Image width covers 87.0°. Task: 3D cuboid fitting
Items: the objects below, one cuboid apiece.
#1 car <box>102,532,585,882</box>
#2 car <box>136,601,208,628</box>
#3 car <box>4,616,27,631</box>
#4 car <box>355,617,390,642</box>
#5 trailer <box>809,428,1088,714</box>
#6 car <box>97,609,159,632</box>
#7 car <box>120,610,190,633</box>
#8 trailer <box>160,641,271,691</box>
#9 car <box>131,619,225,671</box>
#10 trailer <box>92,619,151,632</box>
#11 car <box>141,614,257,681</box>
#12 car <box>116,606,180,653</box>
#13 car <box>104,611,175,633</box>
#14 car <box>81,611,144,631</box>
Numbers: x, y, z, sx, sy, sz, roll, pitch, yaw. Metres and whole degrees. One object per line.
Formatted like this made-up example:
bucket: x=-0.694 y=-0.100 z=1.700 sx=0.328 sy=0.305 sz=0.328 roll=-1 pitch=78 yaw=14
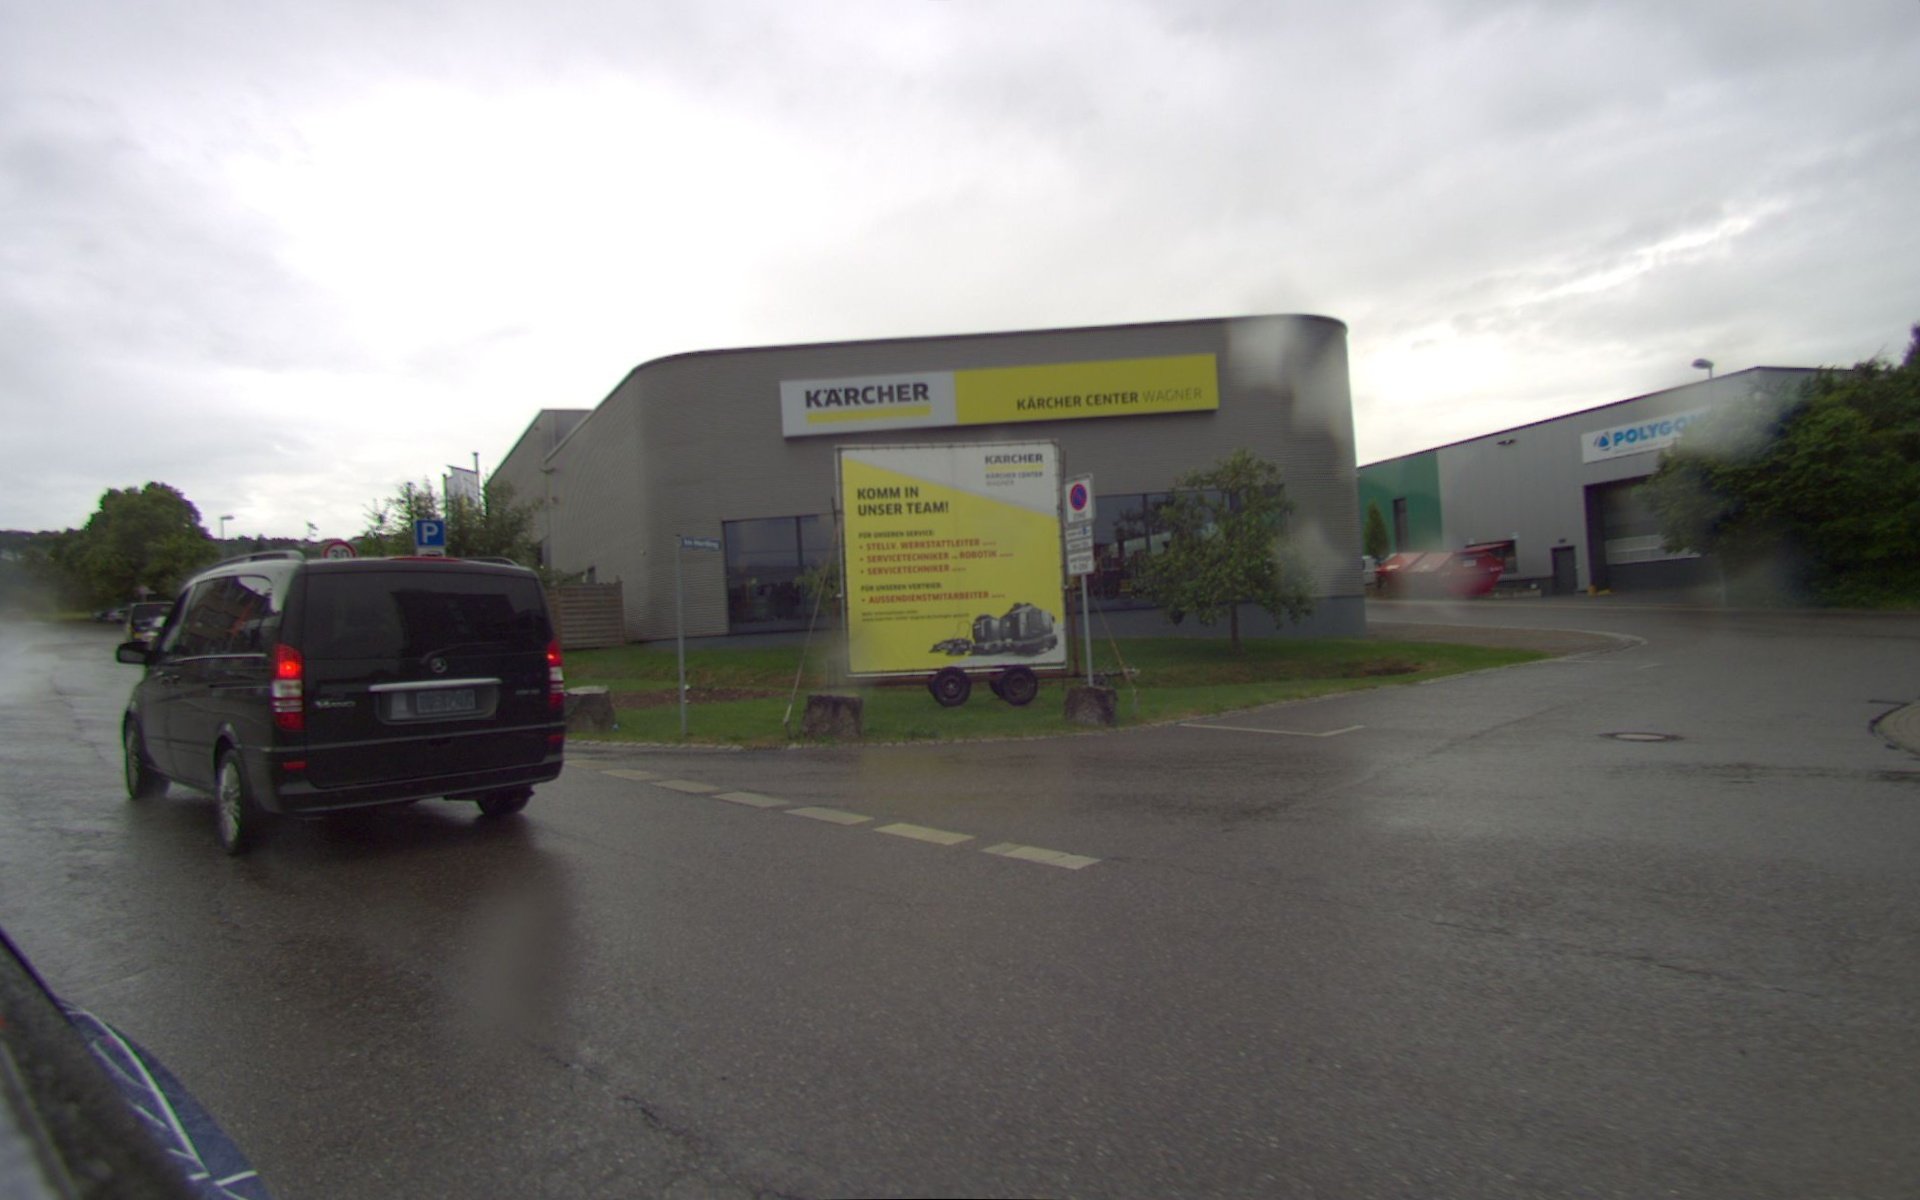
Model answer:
car: x=-5.055 y=0.644 z=7.915 sx=5.071 sy=1.900 sz=1.865 roll=-2 pitch=-2 yaw=42
car: x=-60.133 y=1.105 z=77.234 sx=4.246 sy=1.920 sz=1.865 roll=-1 pitch=0 yaw=-40
car: x=-101.374 y=2.492 z=108.583 sx=1.727 sy=1.519 sz=3.938 roll=-2 pitch=2 yaw=-44
car: x=-47.758 y=2.450 z=82.367 sx=1.965 sy=1.767 sz=4.397 roll=-1 pitch=-4 yaw=-23
trailer: x=-0.232 y=-0.444 z=16.120 sx=4.124 sy=4.235 sz=2.008 roll=-1 pitch=0 yaw=-4
car: x=-73.630 y=1.821 z=89.572 sx=4.027 sy=1.734 sz=2.027 roll=-4 pitch=3 yaw=-44
car: x=-63.958 y=1.692 z=80.438 sx=1.755 sy=1.734 sz=4.151 roll=0 pitch=1 yaw=42
trailer: x=-17.595 y=1.502 z=23.856 sx=1.660 sy=0.895 sz=3.901 roll=-1 pitch=1 yaw=-43
car: x=-24.725 y=1.349 z=31.936 sx=1.932 sy=1.472 sz=5.253 roll=-1 pitch=0 yaw=-42
trailer: x=-75.625 y=2.336 z=91.316 sx=2.000 sy=0.968 sz=3.899 roll=-2 pitch=1 yaw=43
car: x=-20.484 y=1.194 z=27.163 sx=1.934 sy=1.588 sz=4.844 roll=0 pitch=0 yaw=-44
car: x=-34.463 y=1.203 z=42.902 sx=1.892 sy=1.845 sz=4.855 roll=-2 pitch=1 yaw=-41
car: x=-71.279 y=1.862 z=87.985 sx=1.807 sy=1.601 sz=4.566 roll=0 pitch=3 yaw=45
car: x=-79.385 y=1.936 z=94.825 sx=2.044 sy=1.734 sz=4.322 roll=0 pitch=1 yaw=41
